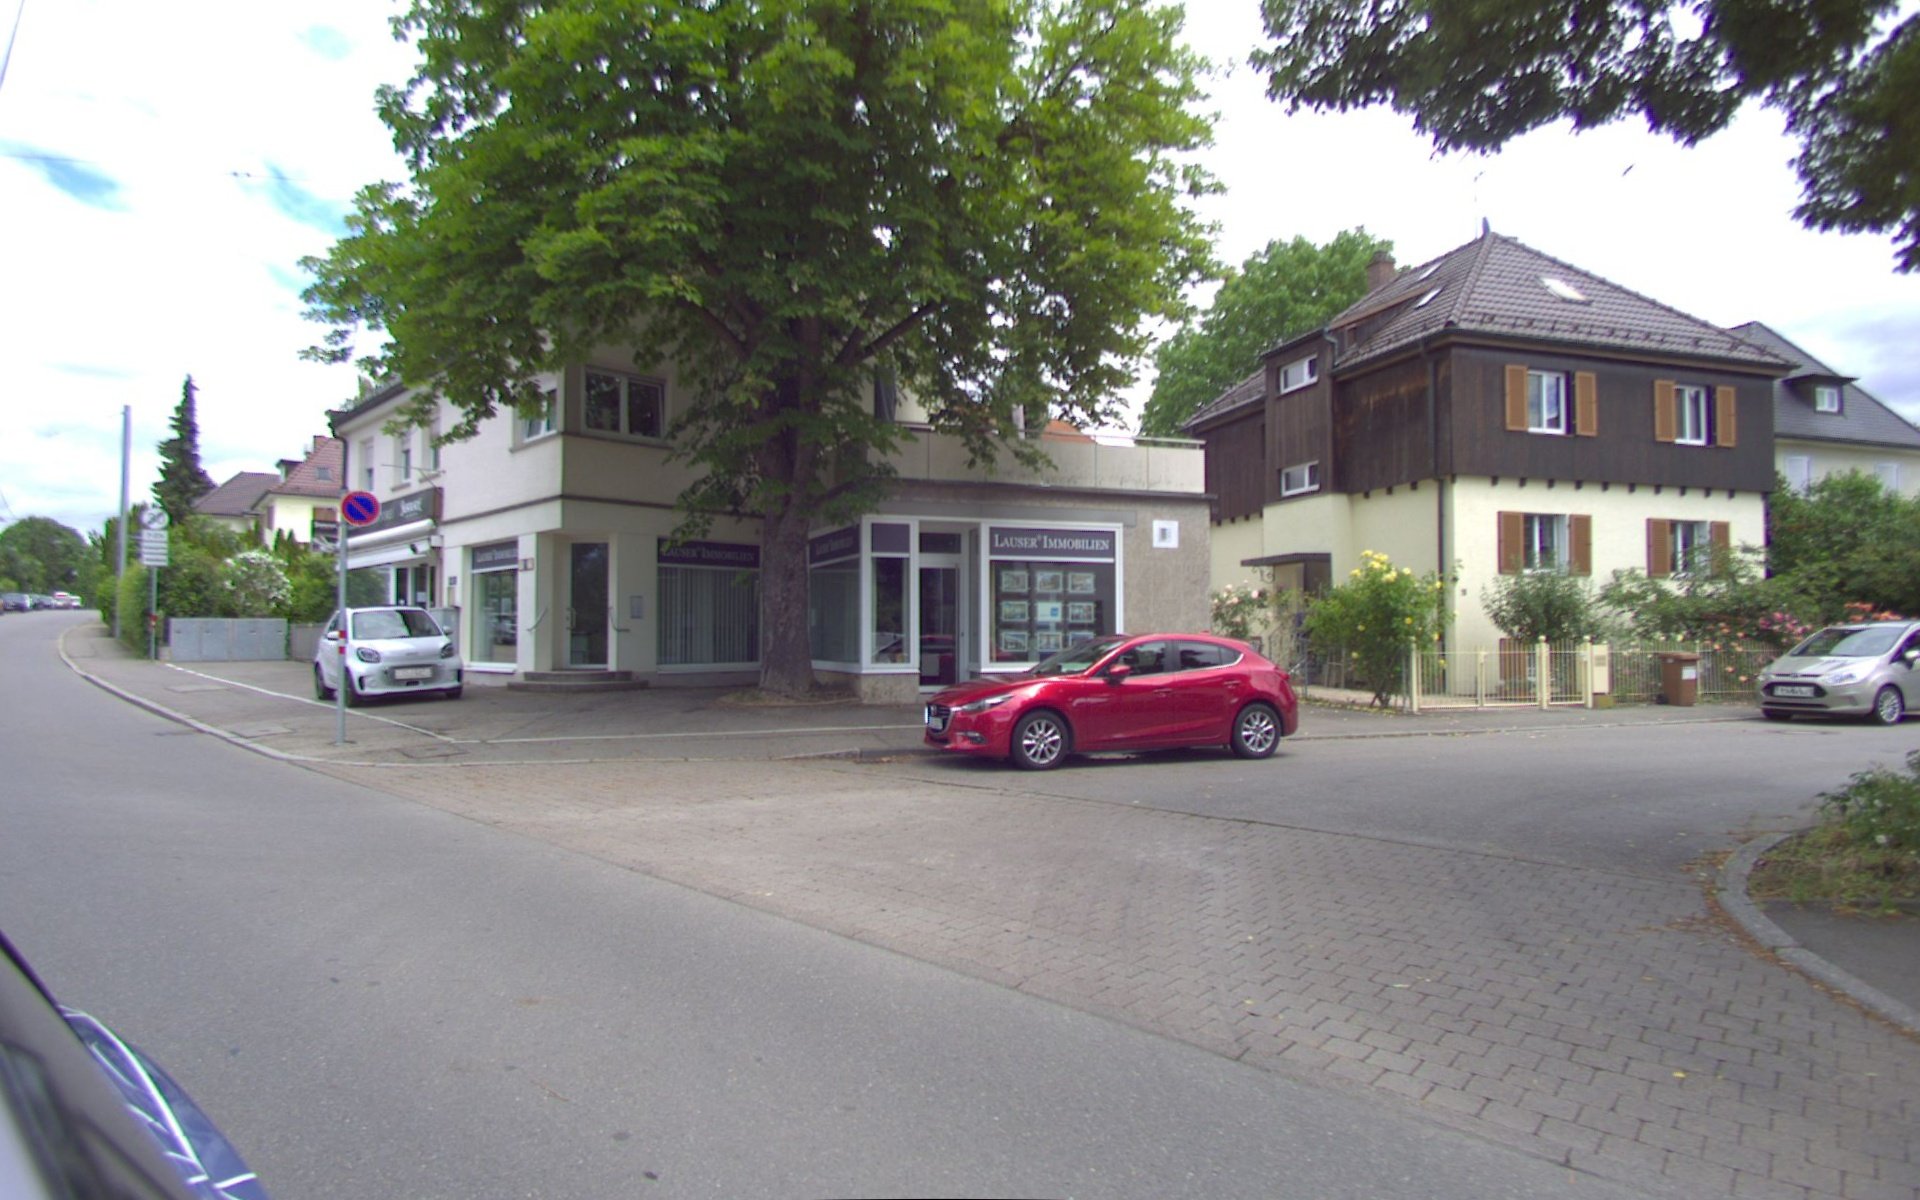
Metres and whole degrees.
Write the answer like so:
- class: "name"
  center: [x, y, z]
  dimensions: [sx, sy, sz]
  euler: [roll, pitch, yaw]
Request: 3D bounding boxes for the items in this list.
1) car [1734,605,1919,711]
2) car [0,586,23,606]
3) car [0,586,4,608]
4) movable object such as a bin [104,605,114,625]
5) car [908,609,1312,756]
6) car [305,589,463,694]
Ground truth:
- class: "car"
  center: [14.503, 0.873, 15.785]
  dimensions: [3.911, 1.501, 1.837]
  euler: [0, -3, -17]
- class: "car"
  center: [-81.804, -0.379, 86.747]
  dimensions: [1.925, 1.639, 4.384]
  euler: [-1, 1, -40]
- class: "car"
  center: [-73.506, -0.202, 76.235]
  dimensions: [1.827, 1.639, 4.177]
  euler: [-1, 1, -39]
- class: "movable object such as a bin"
  center: [-37.889, 0.665, 45.046]
  dimensions: [0.332, 0.900, 0.477]
  euler: [0, 0, -38]
- class: "car"
  center: [1.671, 0.892, 11.551]
  dimensions: [4.160, 1.443, 1.822]
  euler: [1, -4, -19]
- class: "car"
  center: [-9.593, 0.616, 16.781]
  dimensions: [1.570, 1.550, 2.925]
  euler: [-2, 1, -44]
